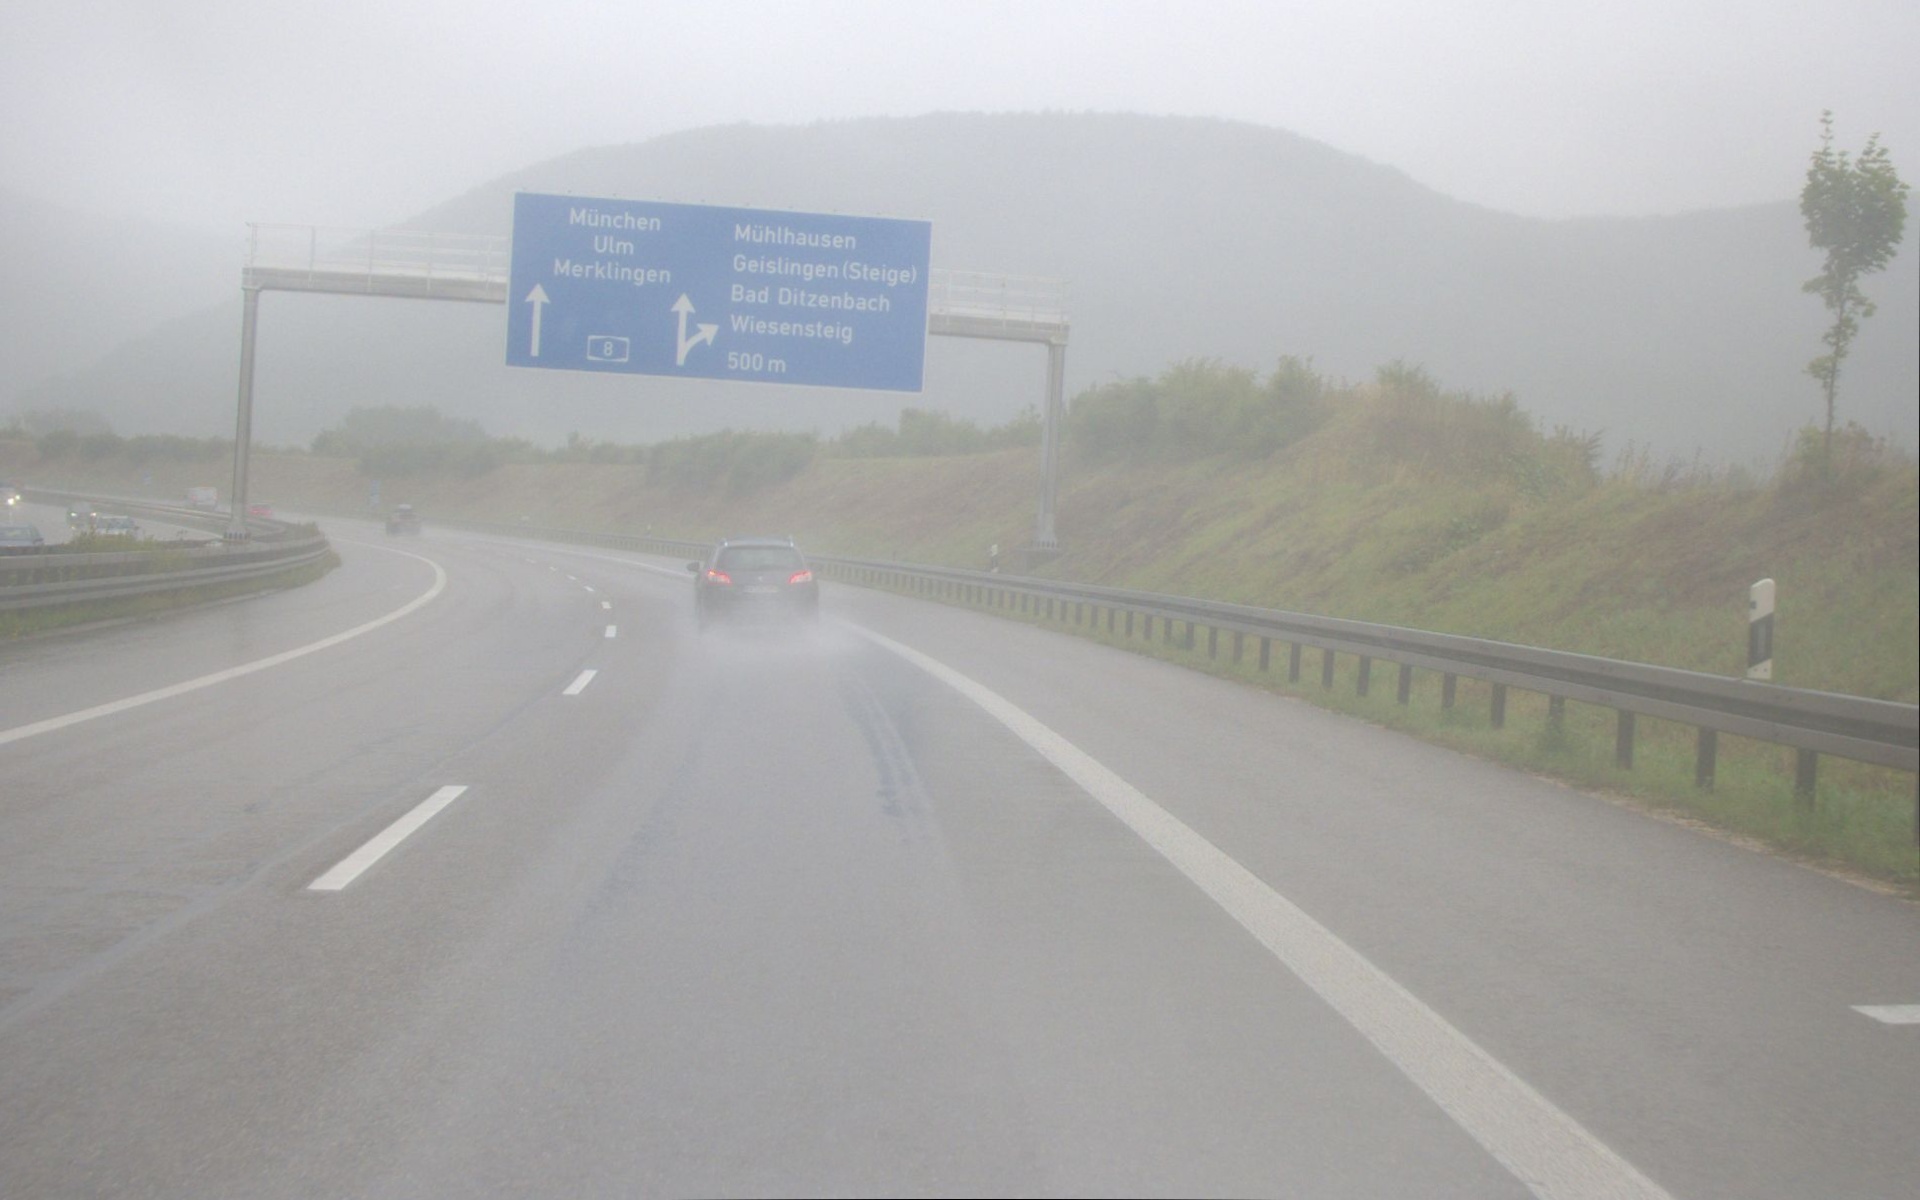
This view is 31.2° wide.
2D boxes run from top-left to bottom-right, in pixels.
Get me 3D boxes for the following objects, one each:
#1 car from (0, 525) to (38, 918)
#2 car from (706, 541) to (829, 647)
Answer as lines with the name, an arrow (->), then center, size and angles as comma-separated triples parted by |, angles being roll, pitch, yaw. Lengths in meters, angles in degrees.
car -> -4.682, 0.464, 11.383 | 2.405, 1.510, 4.785 | 2, 1, -6
car -> -2.911, -0.122, 51.467 | 1.679, 1.467, 3.815 | 2, 1, -5
